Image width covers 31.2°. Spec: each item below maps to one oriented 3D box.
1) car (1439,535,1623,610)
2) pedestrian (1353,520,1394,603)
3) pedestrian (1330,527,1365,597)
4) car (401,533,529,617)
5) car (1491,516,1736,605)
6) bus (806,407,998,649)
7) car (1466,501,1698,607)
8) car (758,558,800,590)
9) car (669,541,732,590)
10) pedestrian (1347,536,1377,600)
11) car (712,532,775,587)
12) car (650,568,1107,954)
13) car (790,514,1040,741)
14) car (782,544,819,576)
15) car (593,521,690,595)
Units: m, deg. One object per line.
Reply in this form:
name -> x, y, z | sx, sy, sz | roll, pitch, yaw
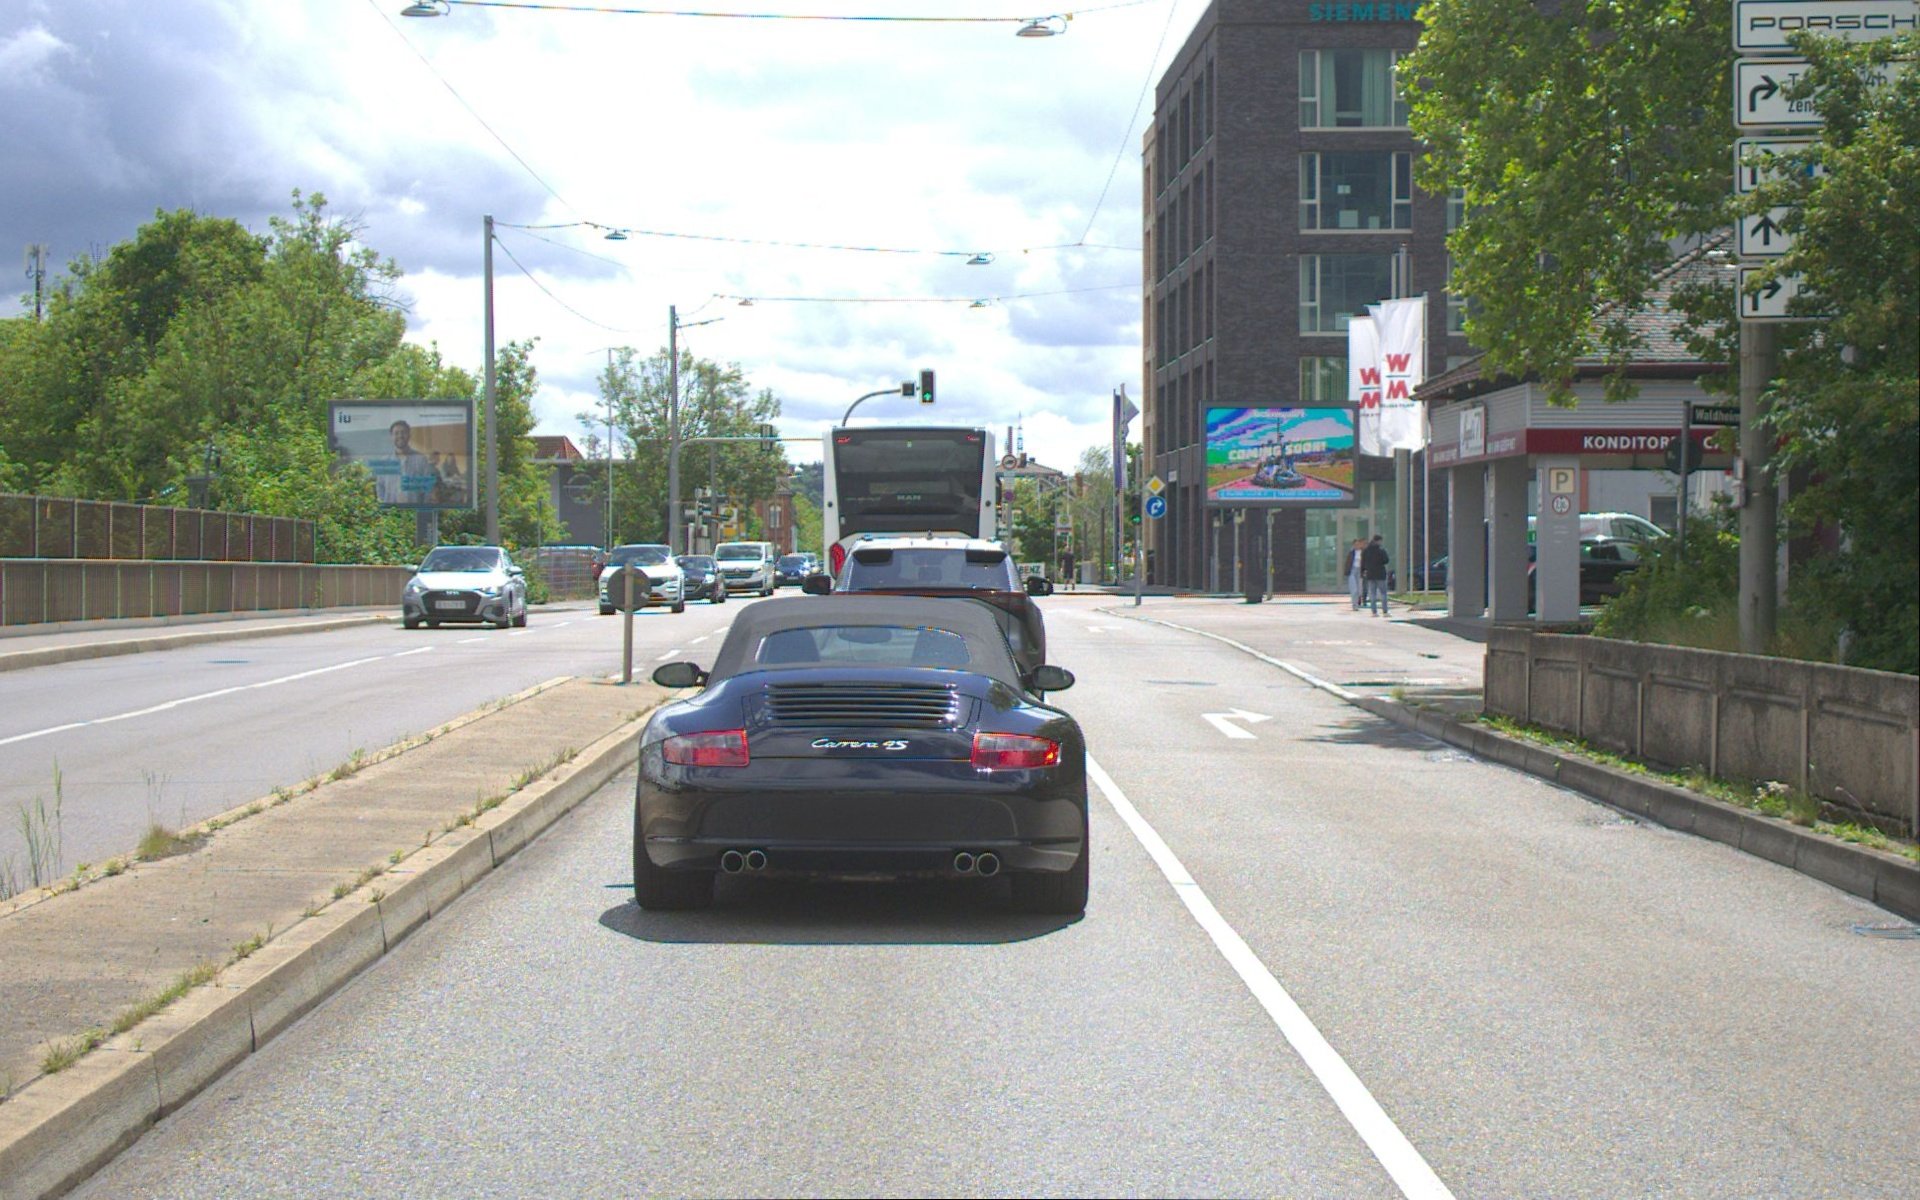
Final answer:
car -> 12.734, -0.624, 76.784 | 3.759, 1.436, 1.719 | -3, 1, 1
pedestrian -> 8.507, -0.794, 70.678 | 0.681, 1.690, 0.597 | 1, 1, 25
pedestrian -> 9.471, -0.929, 84.066 | 0.707, 1.690, 0.924 | 0, 1, -3
car -> -8.478, -0.457, 59.121 | 1.637, 1.358, 4.195 | 0, 1, -1
car -> 12.494, -0.754, 65.896 | 4.300, 1.508, 1.846 | -2, 0, 0
bus -> -0.800, -1.380, 55.737 | 2.689, 3.244, 12.060 | 2, 4, 0
car -> 12.437, -0.916, 68.896 | 4.230, 1.930, 2.029 | -2, 1, 1
car -> -8.042, -1.174, 153.303 | 1.662, 1.411, 3.803 | 0, 1, 0
car -> -7.775, -1.050, 103.194 | 1.628, 1.425, 4.000 | 0, 1, -1
pedestrian -> 10.383, -0.827, 88.786 | 0.670, 1.655, 0.742 | 0, 1, -2
car -> -7.699, -1.454, 122.749 | 1.901, 1.880, 5.313 | -2, 1, -1
car -> -0.398, 0.599, 15.157 | 1.719, 1.270, 4.089 | 1, 3, -2
car -> -0.389, 0.158, 28.517 | 1.879, 1.588, 4.230 | 2, 3, -1
car -> -7.909, -1.995, 171.116 | 1.662, 1.542, 3.803 | 0, 1, 0
car -> -6.968, -0.935, 75.465 | 1.810, 1.555, 4.208 | 1, 1, -1
